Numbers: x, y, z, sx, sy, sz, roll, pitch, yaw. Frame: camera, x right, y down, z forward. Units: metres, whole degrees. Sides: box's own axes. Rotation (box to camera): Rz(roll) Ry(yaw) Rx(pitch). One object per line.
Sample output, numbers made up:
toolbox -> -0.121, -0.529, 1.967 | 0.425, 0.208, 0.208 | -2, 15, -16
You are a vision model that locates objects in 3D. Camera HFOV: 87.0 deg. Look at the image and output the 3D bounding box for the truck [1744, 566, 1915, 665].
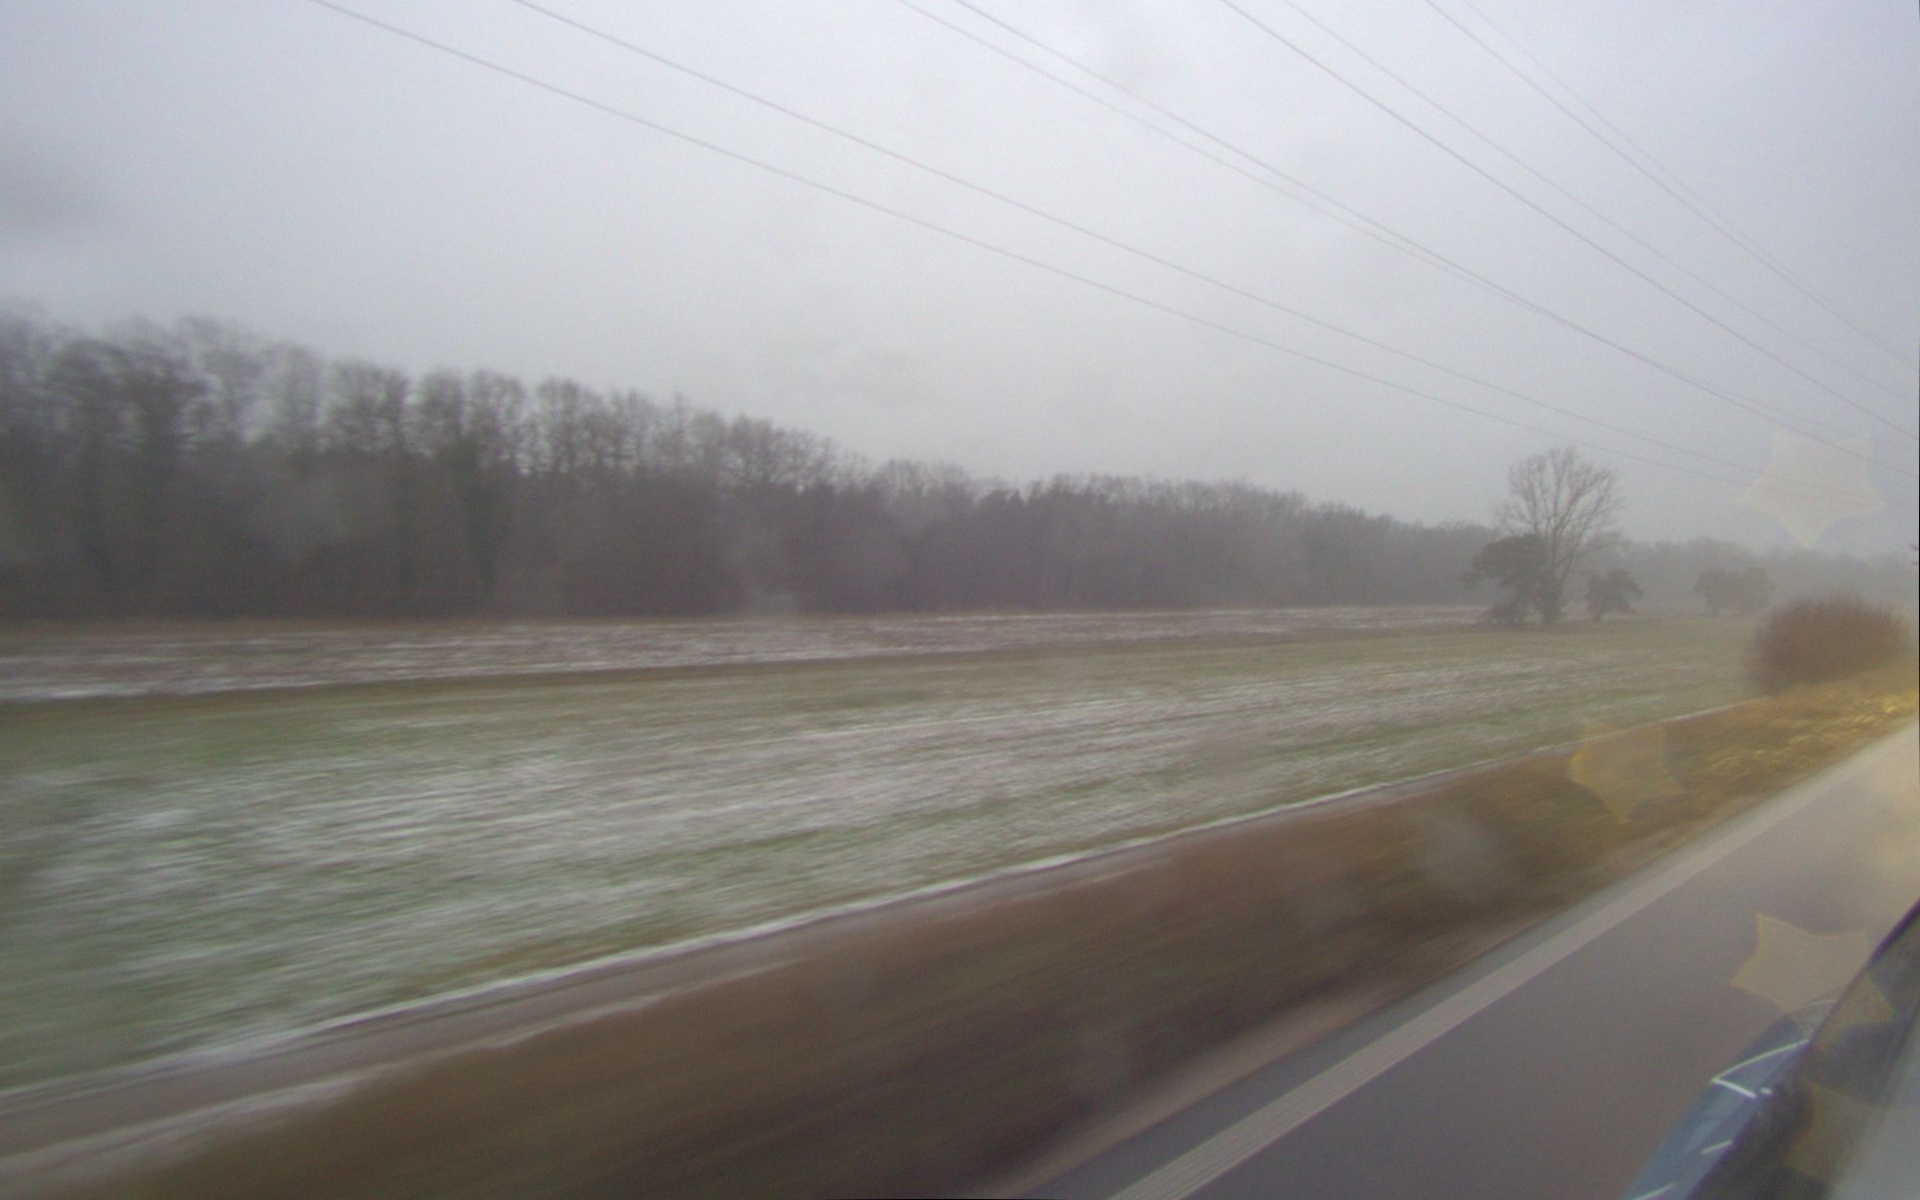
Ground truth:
truck -> 26.778, 0.381, 30.916 | 10.617, 2.604, 2.507 | 0, 0, -41
